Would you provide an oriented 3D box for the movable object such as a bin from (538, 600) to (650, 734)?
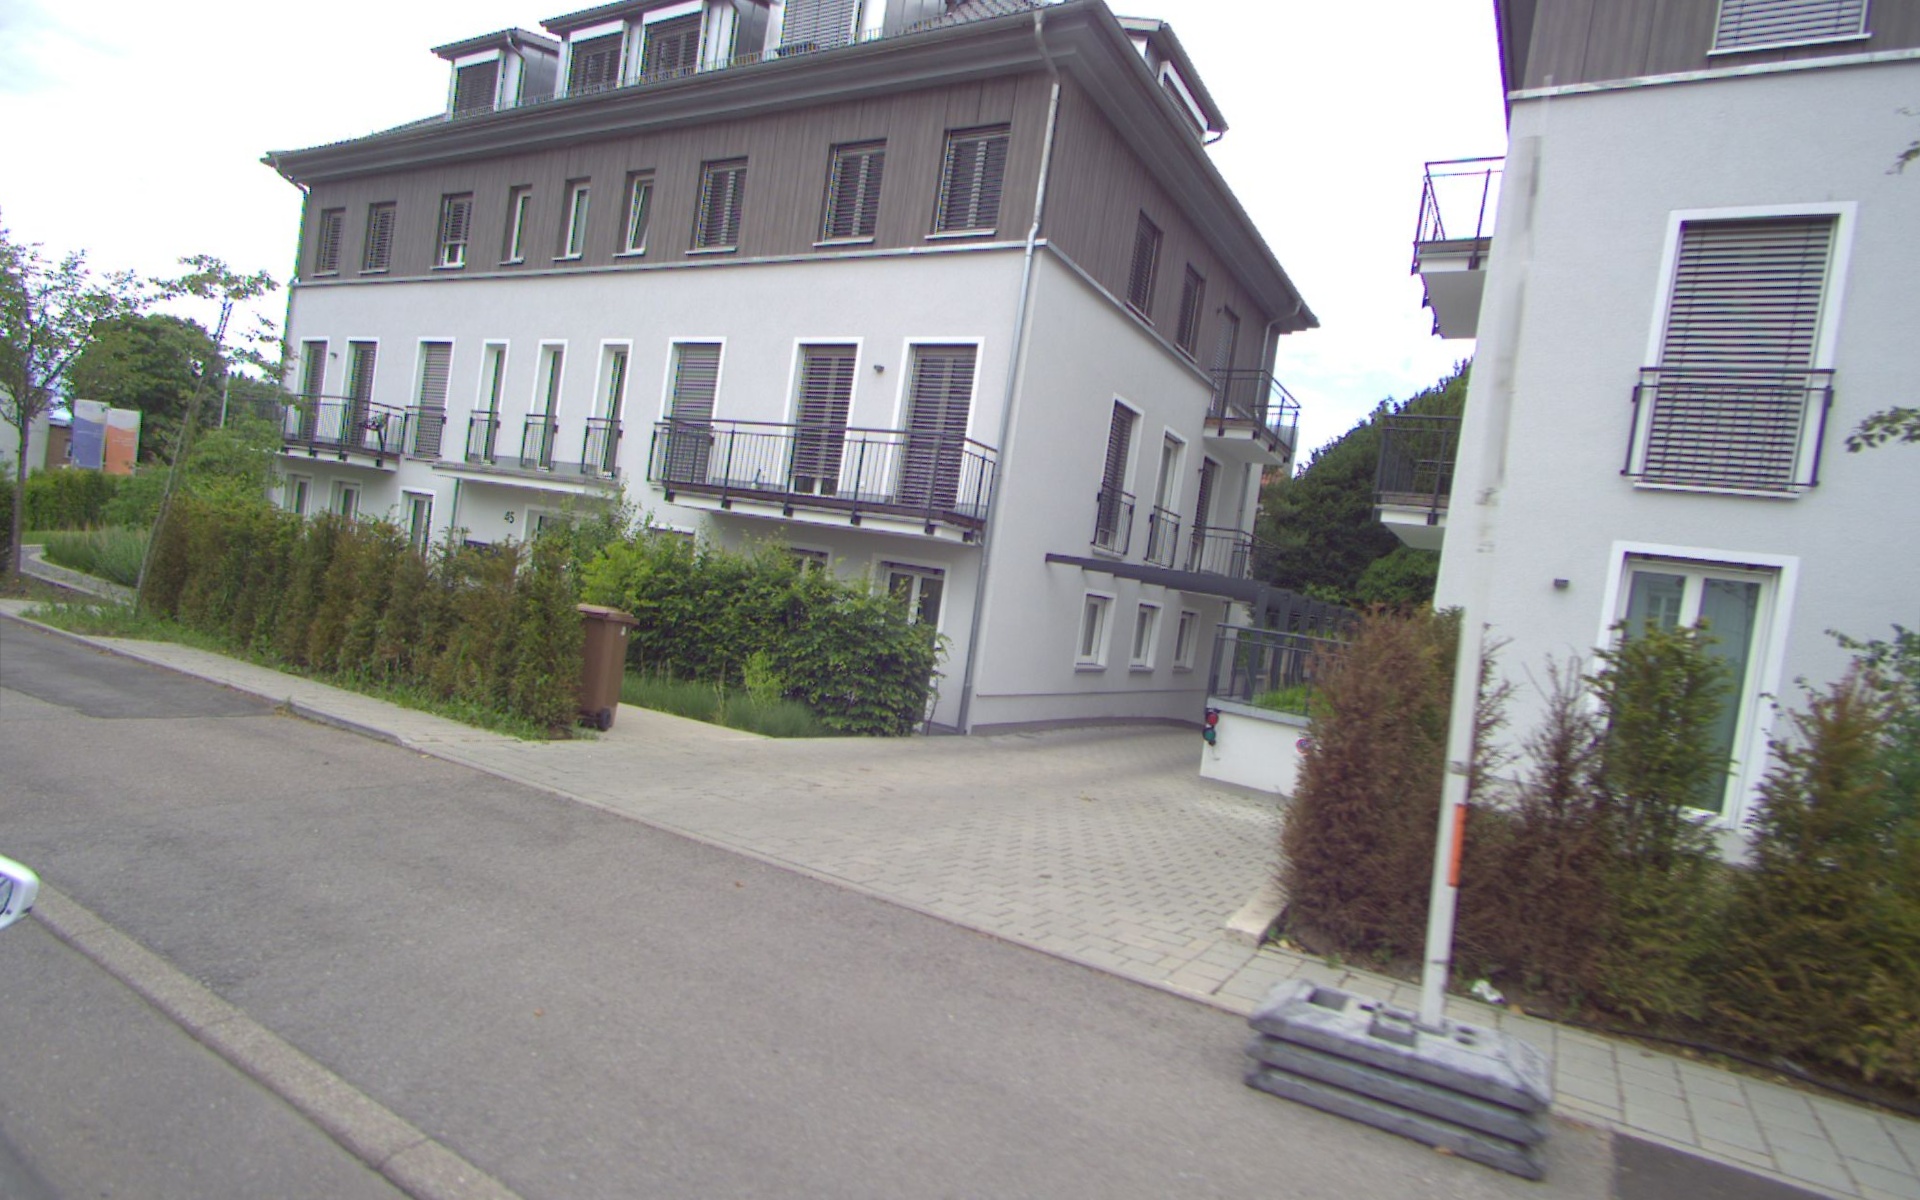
[{"bbox_3d":[-3.260,0.590,9.011,0.670,1.086,0.716,7,-2,-6],"label":"movable object such as a bin"}]
